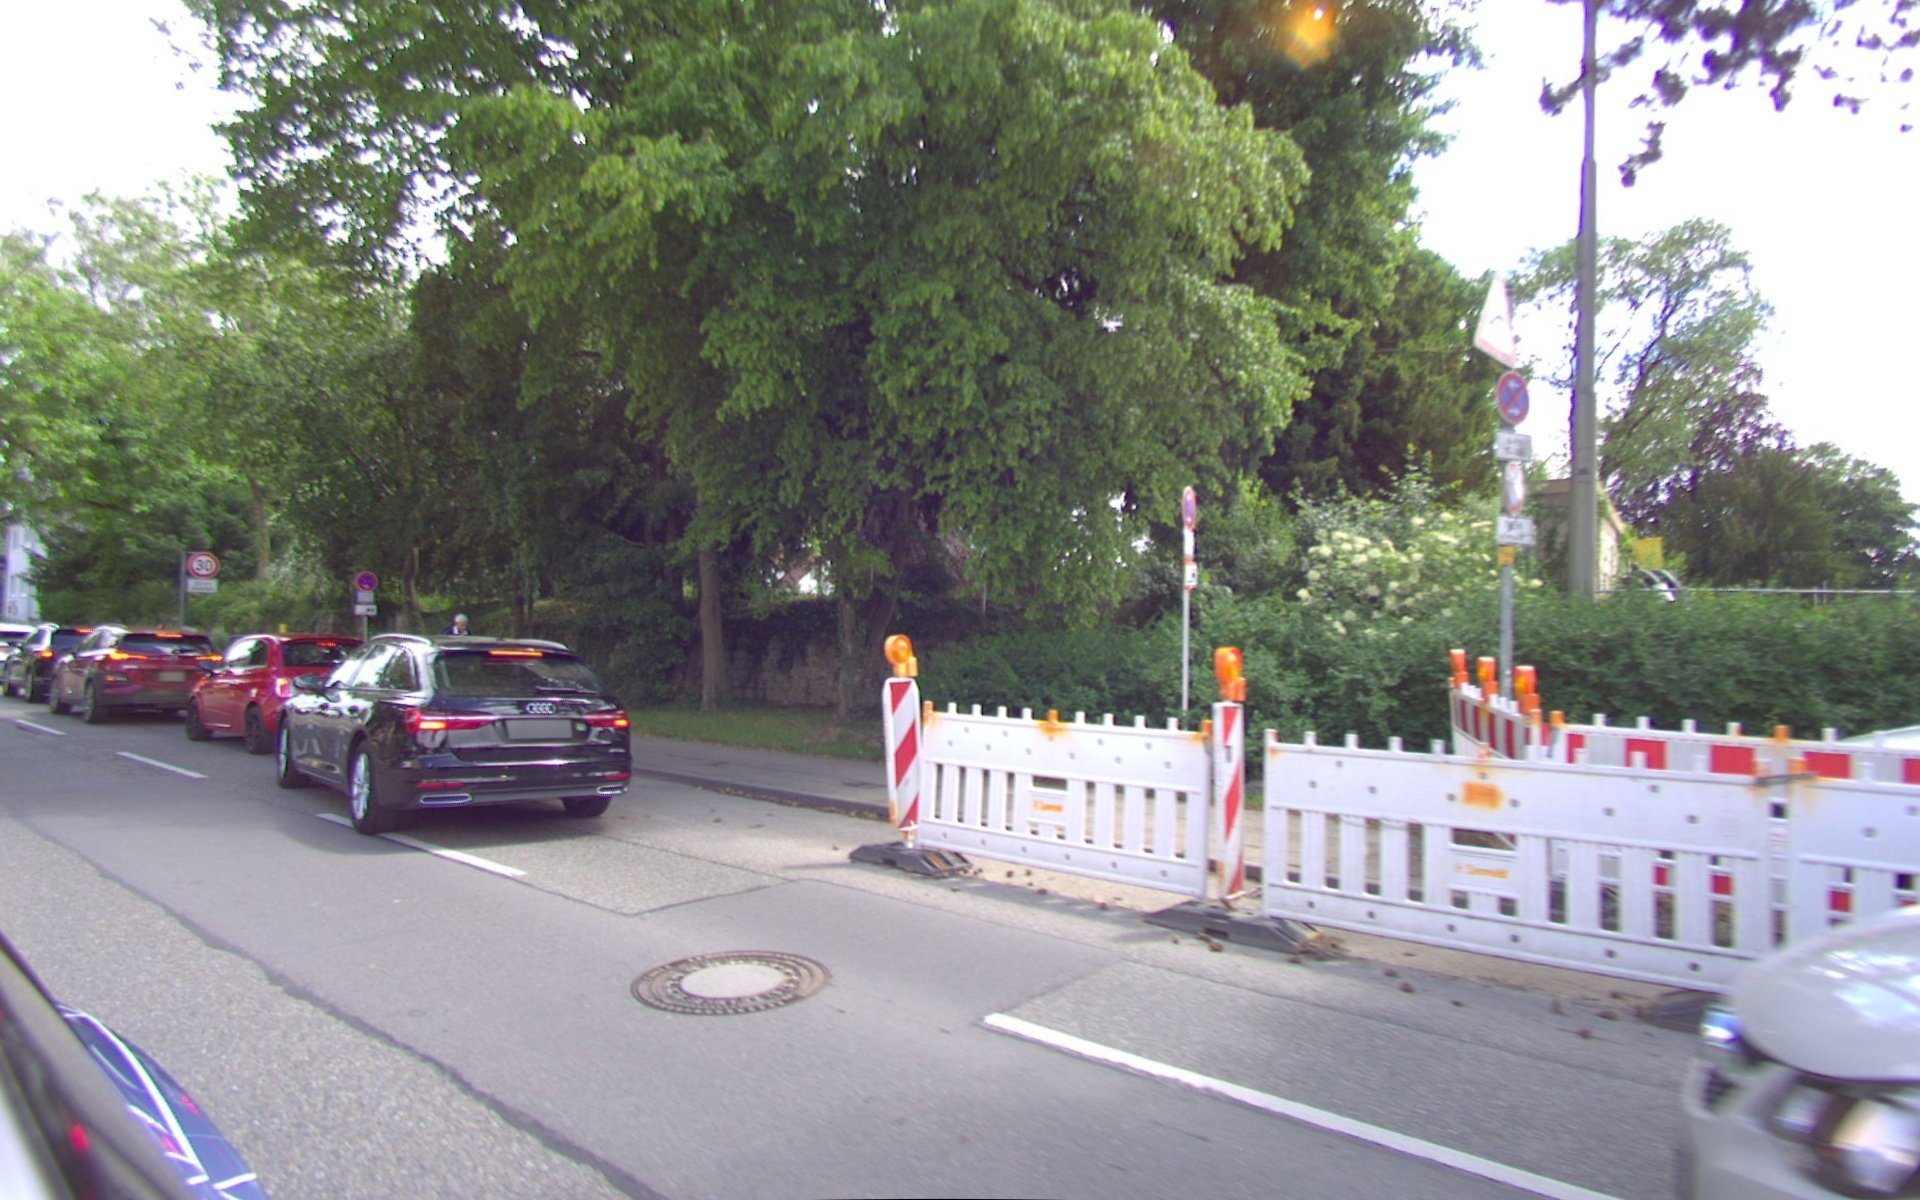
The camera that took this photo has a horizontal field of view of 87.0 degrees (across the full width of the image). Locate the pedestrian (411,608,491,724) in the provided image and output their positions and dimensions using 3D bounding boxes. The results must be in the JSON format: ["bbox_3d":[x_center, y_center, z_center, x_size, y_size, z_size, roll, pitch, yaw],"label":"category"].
[{"bbox_3d":[-8.512,1.073,16.928,1.021,1.861,0.824,0,-2,41],"label":"pedestrian"}]

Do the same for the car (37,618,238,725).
[{"bbox_3d":[-13.862,1.151,16.995,3.998,1.568,1.758,-1,-5,39],"label":"car"}]

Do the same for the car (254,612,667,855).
[{"bbox_3d":[-4.490,0.930,8.692,1.798,1.535,4.564,6,-5,-44],"label":"car"}]

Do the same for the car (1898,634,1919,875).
[{"bbox_3d":[7.323,0.943,5.073,3.573,1.519,1.610,-1,-2,33],"label":"car"}]

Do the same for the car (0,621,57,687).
[{"bbox_3d":[-25.286,1.356,26.443,3.998,1.603,1.740,0,-5,38],"label":"car"}]

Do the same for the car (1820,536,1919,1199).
[{"bbox_3d":[3.210,0.709,0.967,3.565,1.535,1.598,0,-3,39],"label":"car"}]

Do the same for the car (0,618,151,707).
[{"bbox_3d":[-18.279,1.224,20.715,3.964,1.603,1.740,0,-3,38],"label":"car"}]

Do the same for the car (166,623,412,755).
[{"bbox_3d":[-9.071,1.128,13.619,3.564,1.535,1.599,-1,-5,37],"label":"car"}]
